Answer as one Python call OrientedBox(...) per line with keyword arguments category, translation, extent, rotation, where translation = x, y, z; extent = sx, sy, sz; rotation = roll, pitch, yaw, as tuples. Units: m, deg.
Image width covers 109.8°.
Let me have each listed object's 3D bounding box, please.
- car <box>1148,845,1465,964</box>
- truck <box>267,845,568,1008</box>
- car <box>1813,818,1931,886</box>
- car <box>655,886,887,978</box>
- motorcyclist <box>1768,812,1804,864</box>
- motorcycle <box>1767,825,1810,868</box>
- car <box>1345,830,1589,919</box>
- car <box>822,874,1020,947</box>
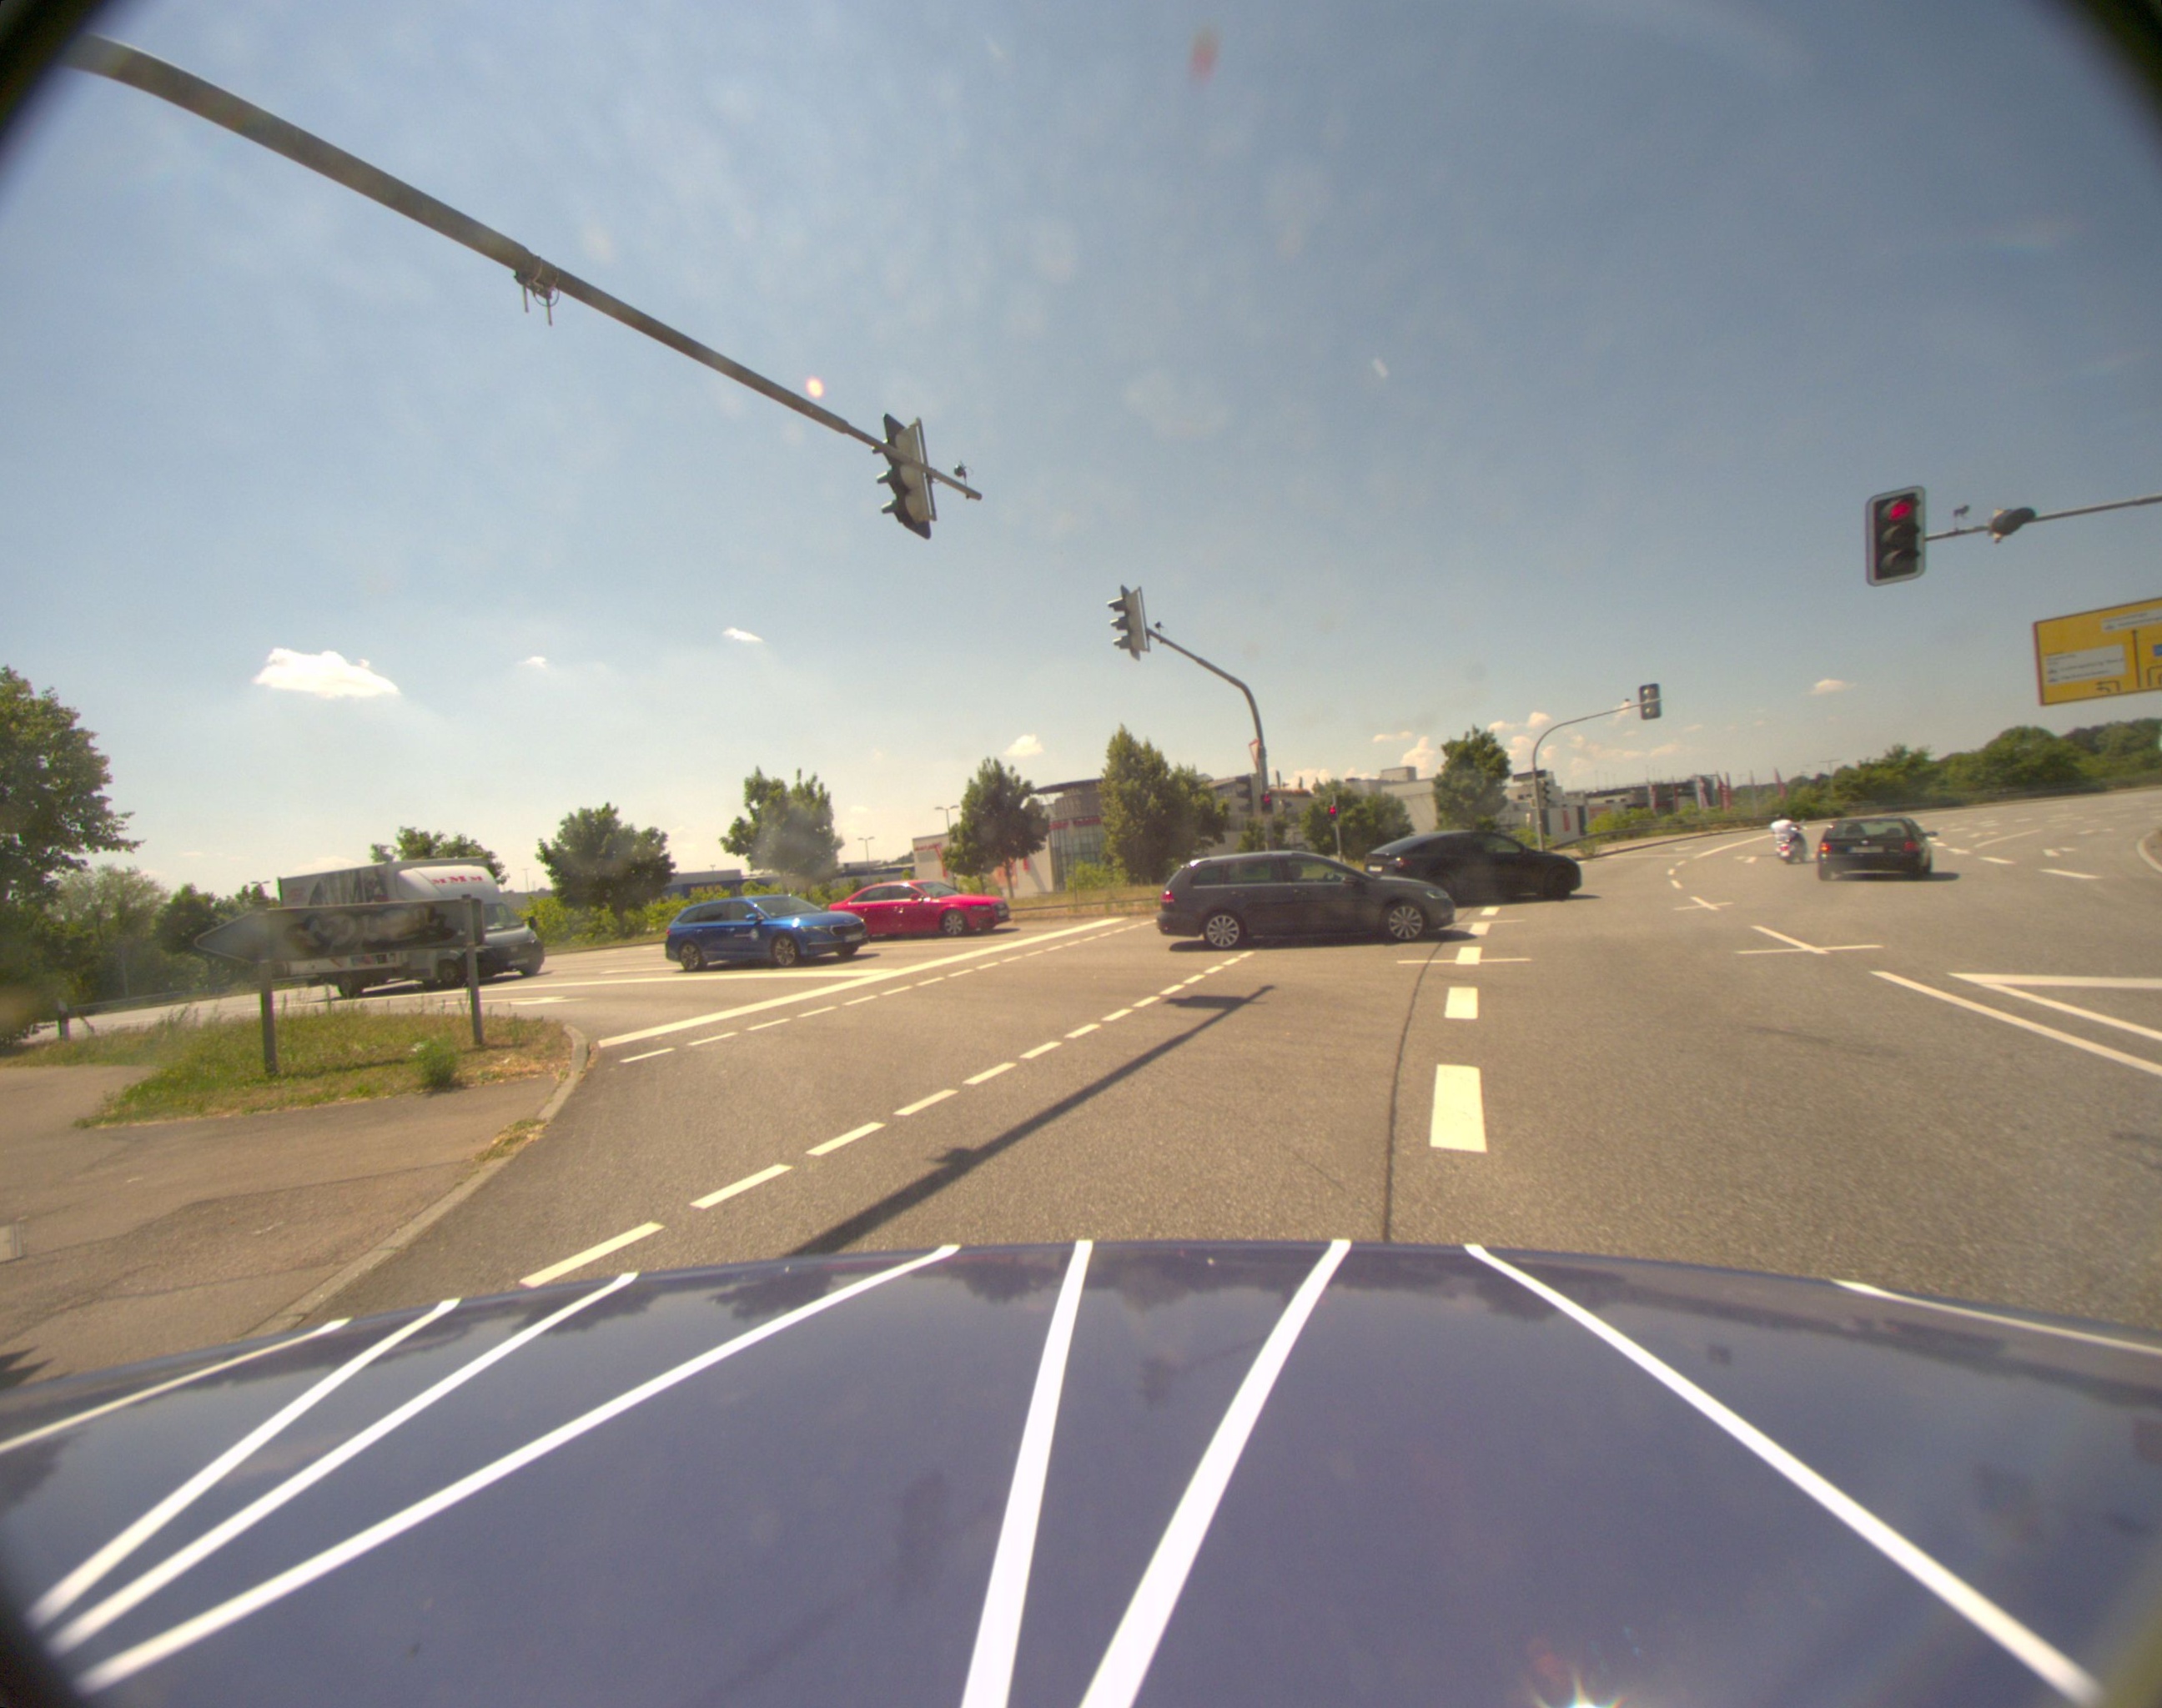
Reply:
OrientedBox(category="car", translation=(3.456, 0.783, 12.166), extent=(4.422, 1.474, 1.785), rotation=(-5, 1, 13))
OrientedBox(category="truck", translation=(-17.621, 1.922, 20.188), extent=(7.190, 3.328, 2.418), rotation=(-8, 1, 19))
OrientedBox(category="car", translation=(18.314, -0.062, 17.558), extent=(3.306, 1.399, 1.620), rotation=(-3, 0, -40))
OrientedBox(category="car", translation=(-6.411, 1.625, 15.655), extent=(4.480, 1.454, 1.715), rotation=(-6, 1, 25))
OrientedBox(category="motorcyclist", translation=(22.080, -0.501, 23.791), extent=(0.848, 1.531, 0.612), rotation=(-4, 1, -36))
OrientedBox(category="motorcycle", translation=(22.193, -0.233, 23.829), extent=(1.944, 1.231, 0.577), rotation=(-4, 1, -36))
OrientedBox(category="car", translation=(8.472, 0.412, 16.859), extent=(4.505, 1.592, 1.880), rotation=(-3, 1, -8))
OrientedBox(category="car", translation=(-3.926, 1.391, 18.699), extent=(4.441, 1.380, 1.668), rotation=(-5, 1, 20))
